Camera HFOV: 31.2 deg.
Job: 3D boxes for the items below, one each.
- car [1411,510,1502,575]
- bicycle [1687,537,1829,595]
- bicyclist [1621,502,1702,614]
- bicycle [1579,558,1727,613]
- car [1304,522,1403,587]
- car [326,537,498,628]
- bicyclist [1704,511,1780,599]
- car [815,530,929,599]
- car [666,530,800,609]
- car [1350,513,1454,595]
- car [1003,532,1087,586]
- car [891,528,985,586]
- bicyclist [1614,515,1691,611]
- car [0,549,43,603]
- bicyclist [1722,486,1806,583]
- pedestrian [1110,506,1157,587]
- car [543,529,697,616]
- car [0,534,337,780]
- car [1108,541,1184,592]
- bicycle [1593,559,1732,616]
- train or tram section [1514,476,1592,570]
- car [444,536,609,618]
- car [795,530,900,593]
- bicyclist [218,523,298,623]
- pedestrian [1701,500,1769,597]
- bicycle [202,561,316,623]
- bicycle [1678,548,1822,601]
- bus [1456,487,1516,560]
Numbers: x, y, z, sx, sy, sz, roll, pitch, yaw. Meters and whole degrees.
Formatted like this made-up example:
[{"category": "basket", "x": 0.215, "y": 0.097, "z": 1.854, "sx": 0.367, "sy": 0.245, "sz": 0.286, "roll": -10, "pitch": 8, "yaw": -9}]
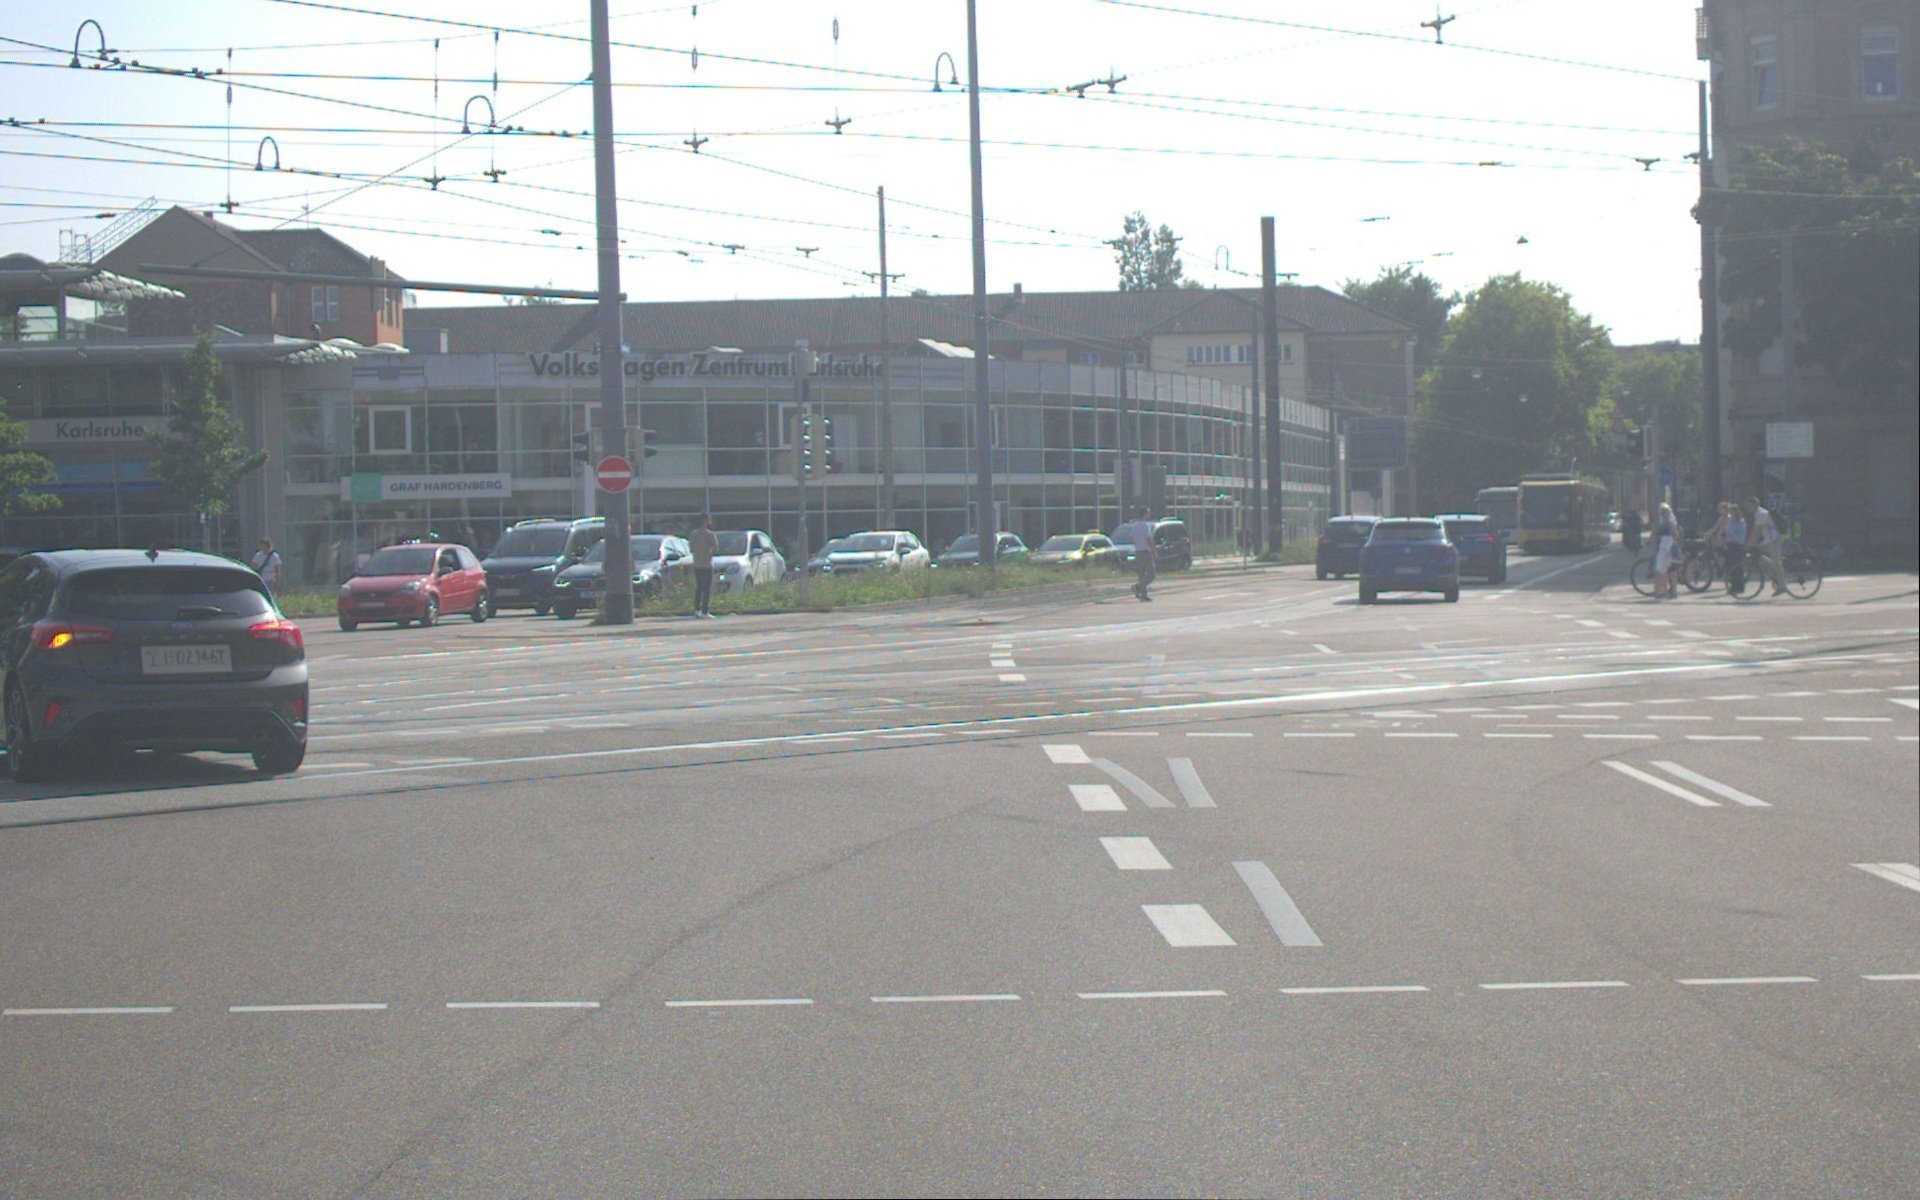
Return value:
[{"category": "car", "x": 11.562, "y": -1.349, "z": 79.852, "sx": 1.826, "sy": 1.423, "sz": 4.410, "roll": -1, "pitch": 1, "yaw": 12}, {"category": "bicycle", "x": 14.173, "y": -0.615, "z": 61.000, "sx": 2.619, "sy": 0.961, "sz": 1.093, "roll": -2, "pitch": 2, "yaw": -40}, {"category": "bicyclist", "x": 12.829, "y": -0.777, "z": 62.895, "sx": 0.934, "sy": 2.017, "sz": 1.092, "roll": -2, "pitch": 1, "yaw": -40}, {"category": "bicycle", "x": 13.148, "y": -0.285, "z": 65.220, "sx": 2.618, "sy": 0.961, "sz": 1.093, "roll": -2, "pitch": 1, "yaw": -27}, {"category": "car", "x": 10.041, "y": -1.180, "z": 87.575, "sx": 1.827, "sy": 1.530, "sz": 4.409, "roll": -1, "pitch": 1, "yaw": 15}, {"category": "car", "x": -9.670, "y": -0.336, "z": 60.936, "sx": 1.615, "sy": 1.470, "sz": 3.998, "roll": -3, "pitch": 1, "yaw": 12}, {"category": "bicyclist", "x": 15.196, "y": -0.869, "z": 66.787, "sx": 0.934, "sy": 1.674, "sz": 1.093, "roll": -2, "pitch": 1, "yaw": -26}, {"category": "car", "x": -2.004, "y": -0.840, "z": 79.726, "sx": 1.615, "sy": 1.470, "sz": 3.998, "roll": -3, "pitch": 1, "yaw": 13}, {"category": "car", "x": -4.568, "y": -0.645, "z": 69.667, "sx": 1.615, "sy": 1.470, "sz": 3.998, "roll": -3, "pitch": 1, "yaw": 12}, {"category": "car", "x": 8.194, "y": -0.871, "z": 63.765, "sx": 1.826, "sy": 1.423, "sz": 4.411, "roll": -1, "pitch": 1, "yaw": 7}, {"category": "car", "x": 2.520, "y": -1.229, "z": 101.175, "sx": 1.615, "sy": 1.470, "sz": 3.998, "roll": -3, "pitch": 1, "yaw": 13}, {"category": "car", "x": -0.576, "y": -1.187, "z": 93.981, "sx": 1.615, "sy": 1.470, "sz": 3.998, "roll": -3, "pitch": 1, "yaw": 13}, {"category": "bicyclist", "x": 13.127, "y": -0.705, "z": 65.202, "sx": 0.934, "sy": 1.793, "sz": 1.093, "roll": -2, "pitch": 1, "yaw": -26}, {"category": "car", "x": -27.933, "y": -0.694, "z": 99.243, "sx": 1.699, "sy": 1.517, "sz": 4.099, "roll": -1, "pitch": 1, "yaw": 1}, {"category": "bicyclist", "x": 14.289, "y": -1.161, "z": 61.094, "sx": 0.934, "sy": 1.702, "sz": 1.092, "roll": -2, "pitch": 1, "yaw": -40}, {"category": "pedestrian", "x": 3.278, "y": -1.016, "z": 65.031, "sx": 0.777, "sy": 1.498, "sz": 0.710, "roll": -1, "pitch": 1, "yaw": -3}, {"category": "car", "x": -6.215, "y": -0.533, "z": 63.249, "sx": 1.615, "sy": 1.470, "sz": 3.998, "roll": -3, "pitch": 1, "yaw": 12}, {"category": "car", "x": -5.610, "y": 0.305, "z": 22.751, "sx": 1.831, "sy": 1.430, "sz": 4.551, "roll": -1, "pitch": 1, "yaw": -25}, {"category": "car", "x": 5.828, "y": -1.065, "z": 107.224, "sx": 1.615, "sy": 1.470, "sz": 3.998, "roll": -3, "pitch": 1, "yaw": 13}, {"category": "bicycle", "x": 12.875, "y": -0.236, "z": 62.930, "sx": 2.619, "sy": 0.961, "sz": 1.093, "roll": -2, "pitch": 2, "yaw": -40}, {"category": "train or tram section", "x": 24.670, "y": -3.231, "z": 142.684, "sx": 2.656, "sy": 3.686, "sz": 10.584, "roll": -1, "pitch": 1, "yaw": 12}, {"category": "car", "x": -8.546, "y": -0.474, "z": 68.126, "sx": 1.961, "sy": 1.470, "sz": 3.998, "roll": -3, "pitch": 1, "yaw": 12}, {"category": "car", "x": -2.822, "y": -1.001, "z": 87.033, "sx": 1.615, "sy": 1.470, "sz": 3.998, "roll": -3, "pitch": 1, "yaw": 13}, {"category": "bicyclist", "x": -12.416, "y": -0.484, "z": 60.817, "sx": 0.958, "sy": 1.742, "sz": 1.166, "roll": -1, "pitch": 1, "yaw": 13}, {"category": "pedestrian", "x": 14.475, "y": -0.958, "z": 64.214, "sx": 0.925, "sy": 1.791, "sz": 0.859, "roll": -2, "pitch": 2, "yaw": -44}, {"category": "bicycle", "x": -12.398, "y": -0.154, "z": 60.887, "sx": 0.958, "sy": 1.053, "sz": 2.607, "roll": -1, "pitch": 1, "yaw": 13}, {"category": "bicycle", "x": 15.373, "y": -0.509, "z": 66.887, "sx": 2.618, "sy": 0.961, "sz": 1.093, "roll": -2, "pitch": 1, "yaw": -27}, {"category": "bus", "x": 27.394, "y": -3.975, "z": 179.508, "sx": 2.921, "sy": 3.606, "sz": 16.741, "roll": -1, "pitch": 1, "yaw": 8}]
